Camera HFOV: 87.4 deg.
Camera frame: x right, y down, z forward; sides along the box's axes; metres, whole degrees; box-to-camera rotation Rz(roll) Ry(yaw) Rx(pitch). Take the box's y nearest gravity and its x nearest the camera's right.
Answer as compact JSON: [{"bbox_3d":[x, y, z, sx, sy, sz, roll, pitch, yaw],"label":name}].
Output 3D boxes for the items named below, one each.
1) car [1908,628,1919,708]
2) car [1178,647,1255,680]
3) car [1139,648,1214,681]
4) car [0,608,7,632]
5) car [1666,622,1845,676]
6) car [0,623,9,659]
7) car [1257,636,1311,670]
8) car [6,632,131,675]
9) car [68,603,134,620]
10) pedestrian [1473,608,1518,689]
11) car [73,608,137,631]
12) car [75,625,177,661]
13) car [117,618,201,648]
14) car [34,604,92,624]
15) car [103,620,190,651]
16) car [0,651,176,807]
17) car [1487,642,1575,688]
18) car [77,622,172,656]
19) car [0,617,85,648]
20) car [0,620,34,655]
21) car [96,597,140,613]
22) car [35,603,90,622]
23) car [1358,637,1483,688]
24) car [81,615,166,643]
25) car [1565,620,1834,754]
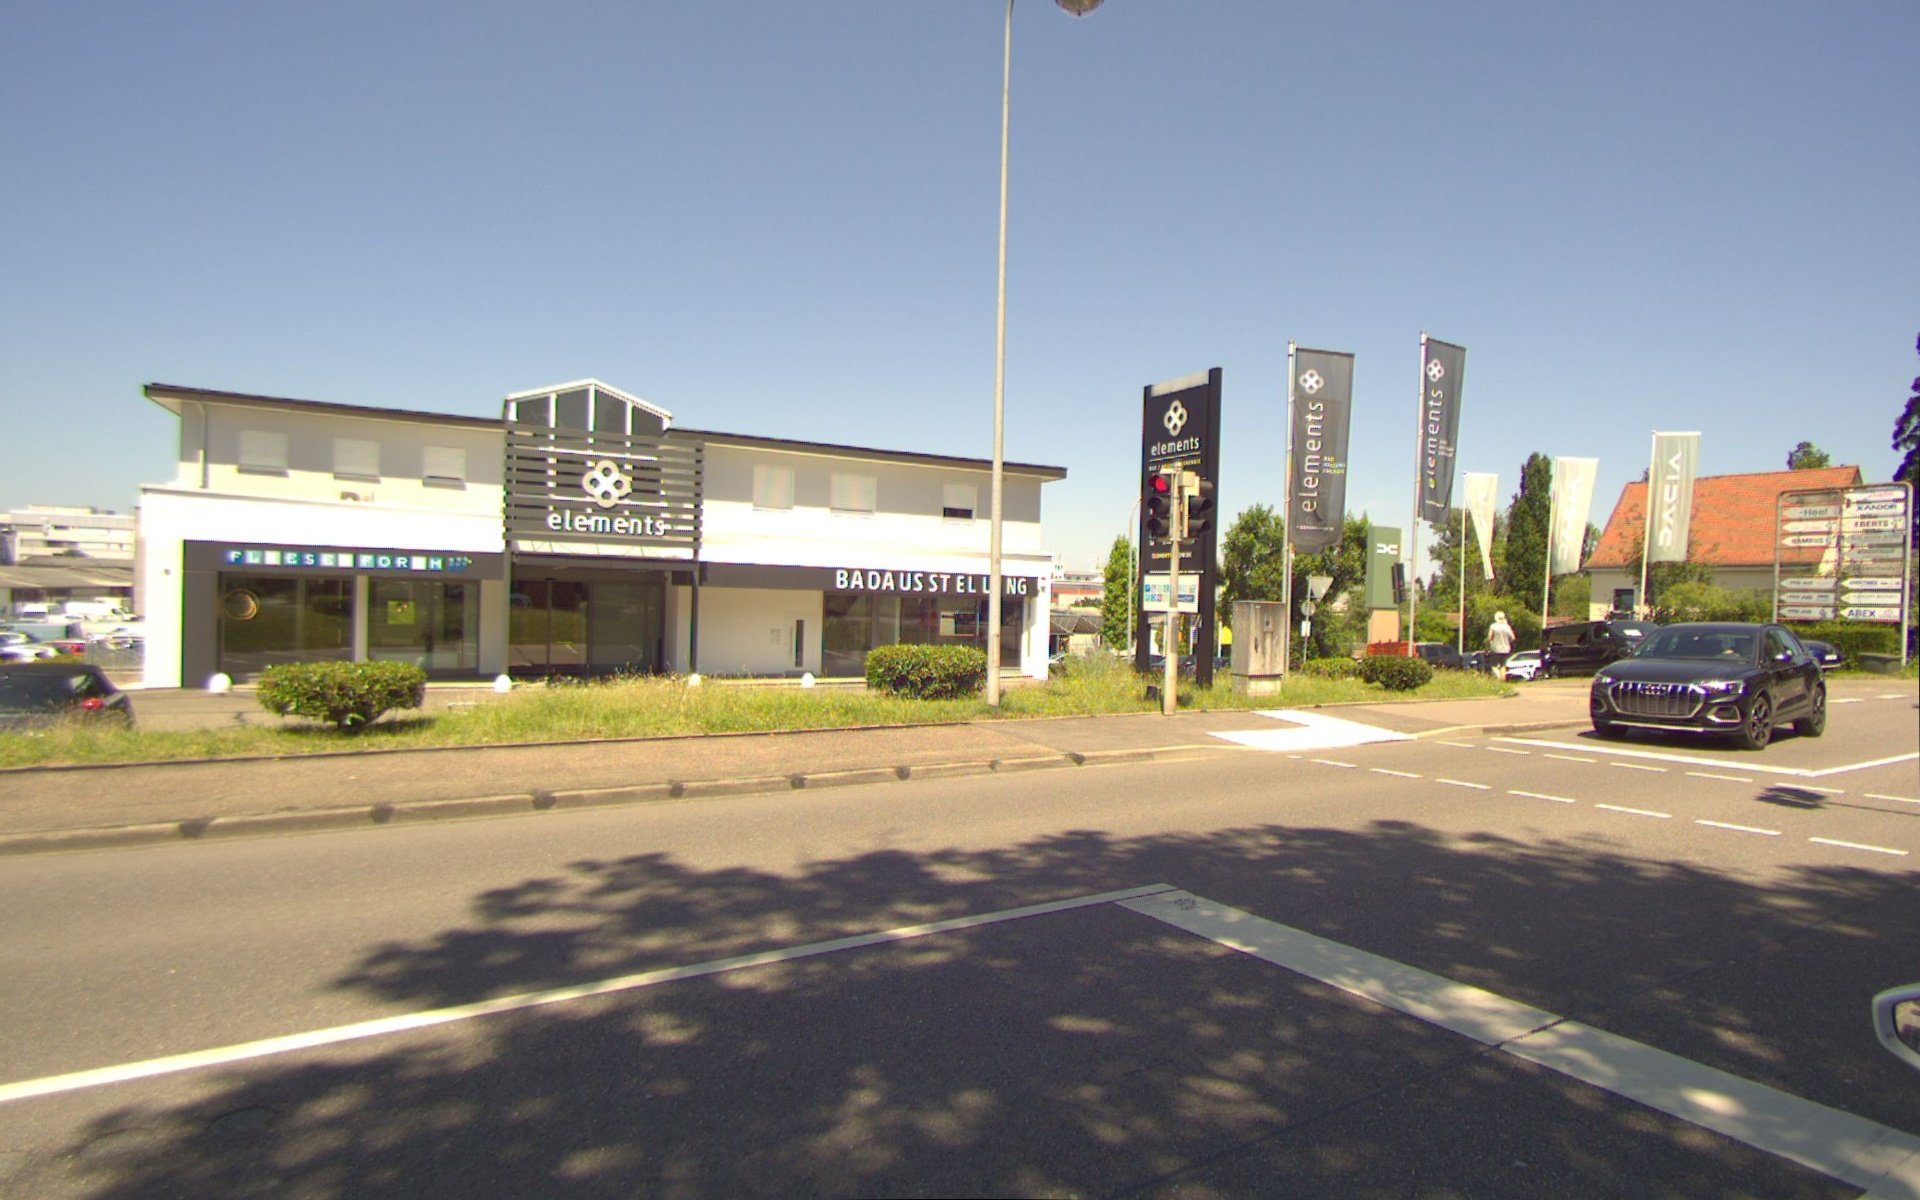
[{"bbox_3d":[20.583,1.358,19.862,4.011,1.527,1.857,2,-1,-34],"label":"car"},{"bbox_3d":[12.212,2.981,47.702,3.837,1.434,1.633,2,-1,-41],"label":"car"},{"bbox_3d":[10.861,3.182,50.234,3.973,1.506,1.735,2,-1,-44],"label":"car"},{"bbox_3d":[-74.816,1.510,75.840,3.726,1.778,1.719,2,0,-28],"label":"car"},{"bbox_3d":[24.915,1.494,31.630,1.751,1.524,4.129,1,-1,-20],"label":"car"},{"bbox_3d":[-49.208,2.004,48.960,3.726,1.778,1.719,2,-1,-28],"label":"car"},{"bbox_3d":[18.709,3.008,57.857,1.785,1.744,4.075,1,0,36],"label":"car"},{"bbox_3d":[-38.760,2.322,43.778,3.726,1.778,1.719,2,-1,-28],"label":"car"},{"bbox_3d":[-96.013,1.305,112.315,5.236,1.778,2.051,2,-1,-28],"label":"car"},{"bbox_3d":[12.032,1.077,22.577,0.689,1.785,0.545,1,0,-4],"label":"pedestrian"},{"bbox_3d":[-71.031,1.604,83.489,3.726,1.778,1.719,2,0,-28],"label":"car"},{"bbox_3d":[-43.135,2.228,52.026,3.726,1.778,1.719,2,-1,-28],"label":"car"},{"bbox_3d":[-49.599,2.078,62.268,3.726,1.778,1.719,2,-1,-28],"label":"car"},{"bbox_3d":[-84.196,1.303,94.321,3.726,1.778,1.719,2,-1,-28],"label":"car"},{"bbox_3d":[-48.387,2.100,59.818,3.726,1.778,1.719,2,-1,-28],"label":"car"},{"bbox_3d":[-11.738,1.509,12.824,1.746,1.553,4.076,1,-1,-24],"label":"car"},{"bbox_3d":[23.964,2.684,42.129,4.053,1.744,1.795,2,0,-38],"label":"car"},{"bbox_3d":[-46.317,2.152,55.807,3.726,1.778,1.719,2,-1,-28],"label":"car"},{"bbox_3d":[-54.784,1.914,59.782,3.726,1.778,1.719,2,-1,-28],"label":"car"},{"bbox_3d":[-51.427,1.956,52.784,3.726,1.778,1.719,2,-1,-28],"label":"car"},{"bbox_3d":[-100.135,0.613,119.497,3.726,1.778,1.719,2,-1,-28],"label":"car"},{"bbox_3d":[-88.195,1.240,98.759,3.726,1.778,1.719,2,-1,-28],"label":"car"},{"bbox_3d":[17.185,2.314,37.528,4.022,1.744,1.808,2,0,-16],"label":"car"},{"bbox_3d":[-55.271,1.927,66.465,4.004,1.778,1.719,2,-1,-28],"label":"car"},{"bbox_3d":[10.452,1.107,14.094,4.263,1.576,1.912,2,-1,-37],"label":"car"}]
